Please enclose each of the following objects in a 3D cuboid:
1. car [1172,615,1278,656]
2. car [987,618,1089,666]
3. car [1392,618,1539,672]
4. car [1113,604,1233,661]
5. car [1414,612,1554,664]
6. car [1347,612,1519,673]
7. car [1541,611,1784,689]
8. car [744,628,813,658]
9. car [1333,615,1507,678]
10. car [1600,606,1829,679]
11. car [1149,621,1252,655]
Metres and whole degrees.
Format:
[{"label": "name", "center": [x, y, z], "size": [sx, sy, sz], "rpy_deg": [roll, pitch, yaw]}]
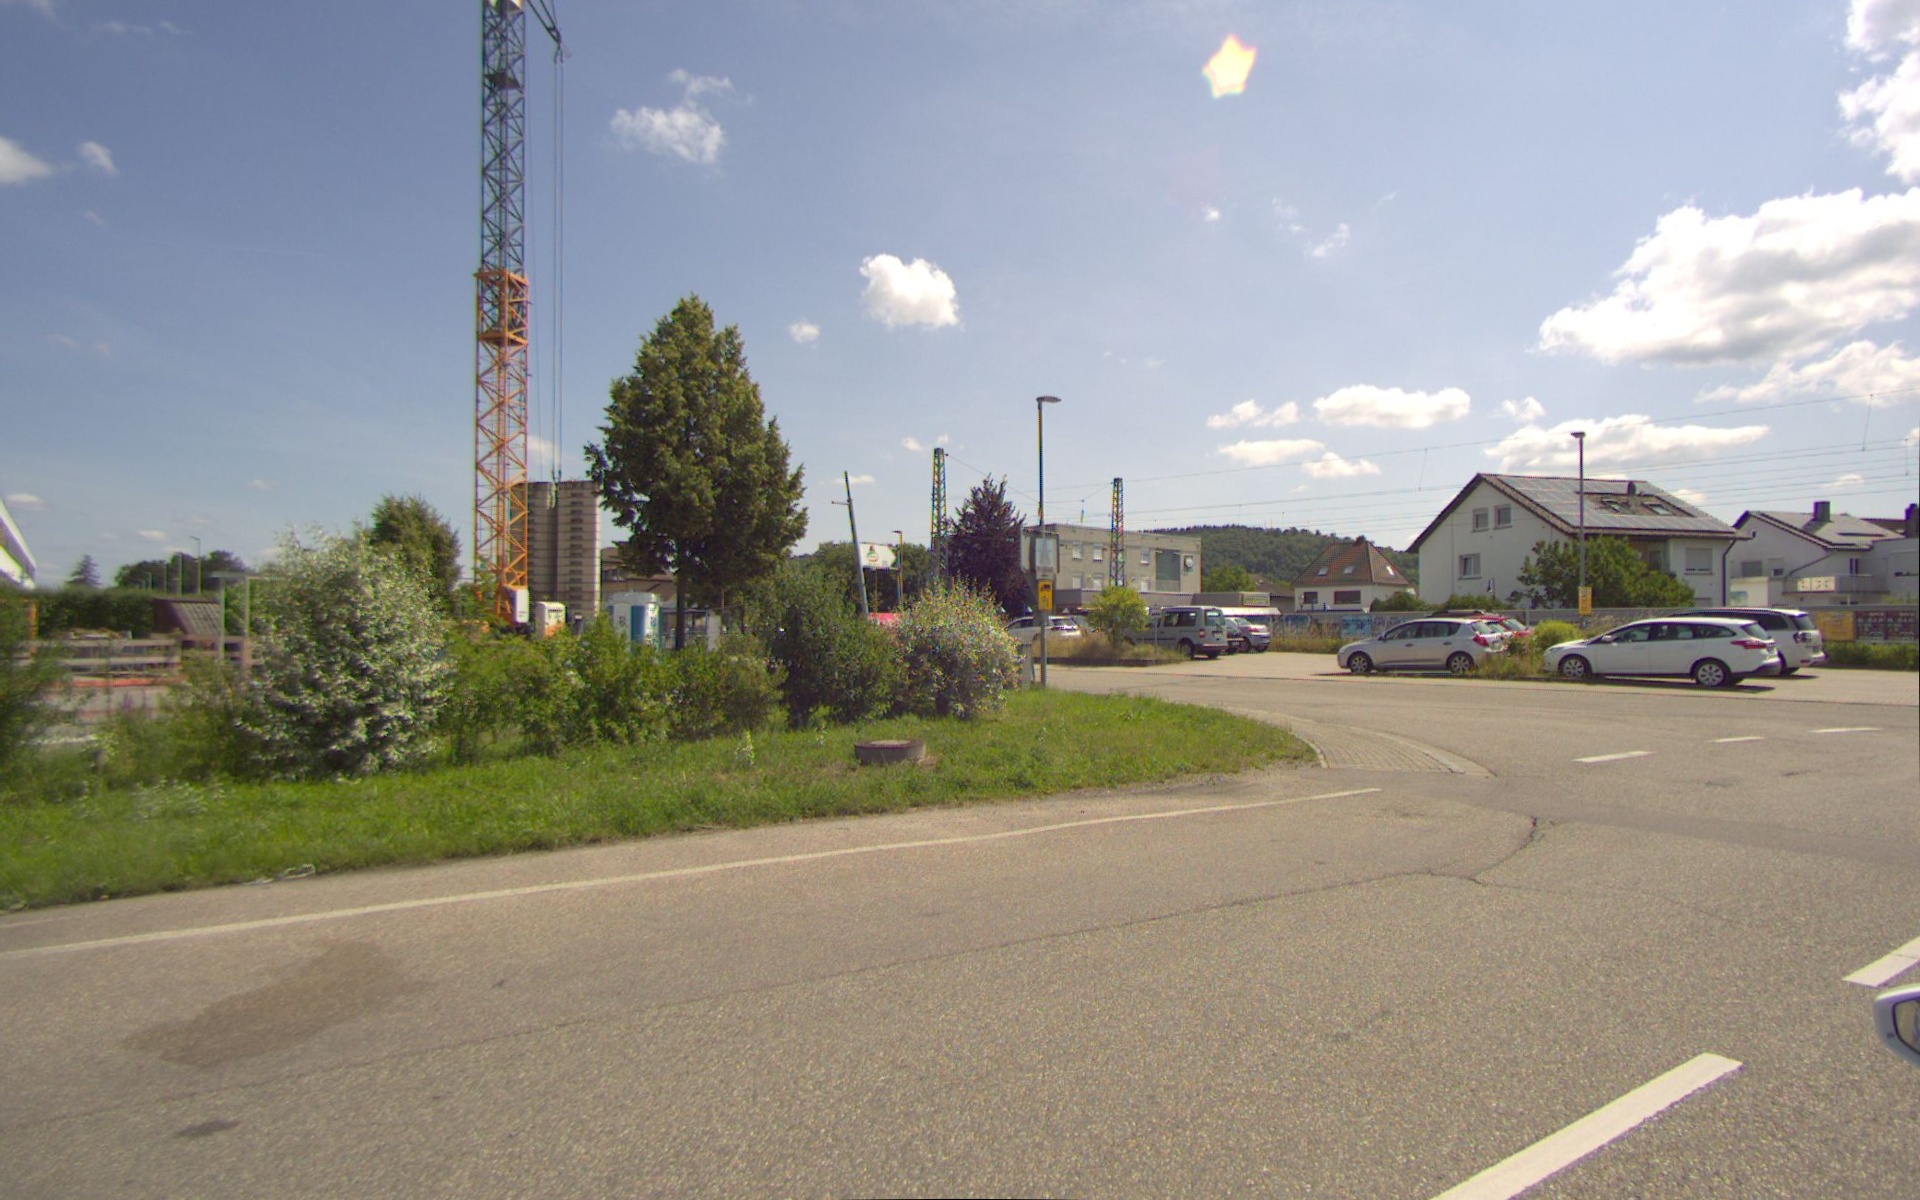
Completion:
[{"label": "car", "center": [10.654, 1.398, 40.604], "size": [1.669, 1.439, 3.956], "rpy_deg": [2, 0, -38]}, {"label": "car", "center": [3.218, 1.723, 42.055], "size": [1.987, 1.916, 3.947], "rpy_deg": [1, -2, -45]}, {"label": "car", "center": [15.564, 1.346, 31.046], "size": [1.682, 1.579, 3.748], "rpy_deg": [1, -2, -42]}, {"label": "car", "center": [7.678, 1.127, 36.475], "size": [1.890, 1.840, 3.952], "rpy_deg": [0, 1, -41]}, {"label": "car", "center": [16.996, 1.216, 32.696], "size": [1.487, 1.610, 3.793], "rpy_deg": [1, -2, -44]}, {"label": "car", "center": [13.738, 1.265, 29.304], "size": [4.118, 1.660, 1.943], "rpy_deg": [-3, -3, 44]}, {"label": "car", "center": [16.005, 1.085, 23.049], "size": [1.813, 1.496, 4.245], "rpy_deg": [2, 0, -41]}, {"label": "car", "center": [-9.814, 2.277, 54.217], "size": [1.877, 1.522, 3.951], "rpy_deg": [1, -2, -42]}, {"label": "car", "center": [12.456, 1.207, 27.311], "size": [3.958, 1.582, 1.812], "rpy_deg": [-1, -2, 43]}, {"label": "car", "center": [19.478, 1.013, 26.098], "size": [1.982, 1.713, 4.419], "rpy_deg": [-1, 0, -37]}, {"label": "car", "center": [9.286, 1.447, 38.974], "size": [1.659, 1.238, 3.631], "rpy_deg": [1, -2, -38]}]
